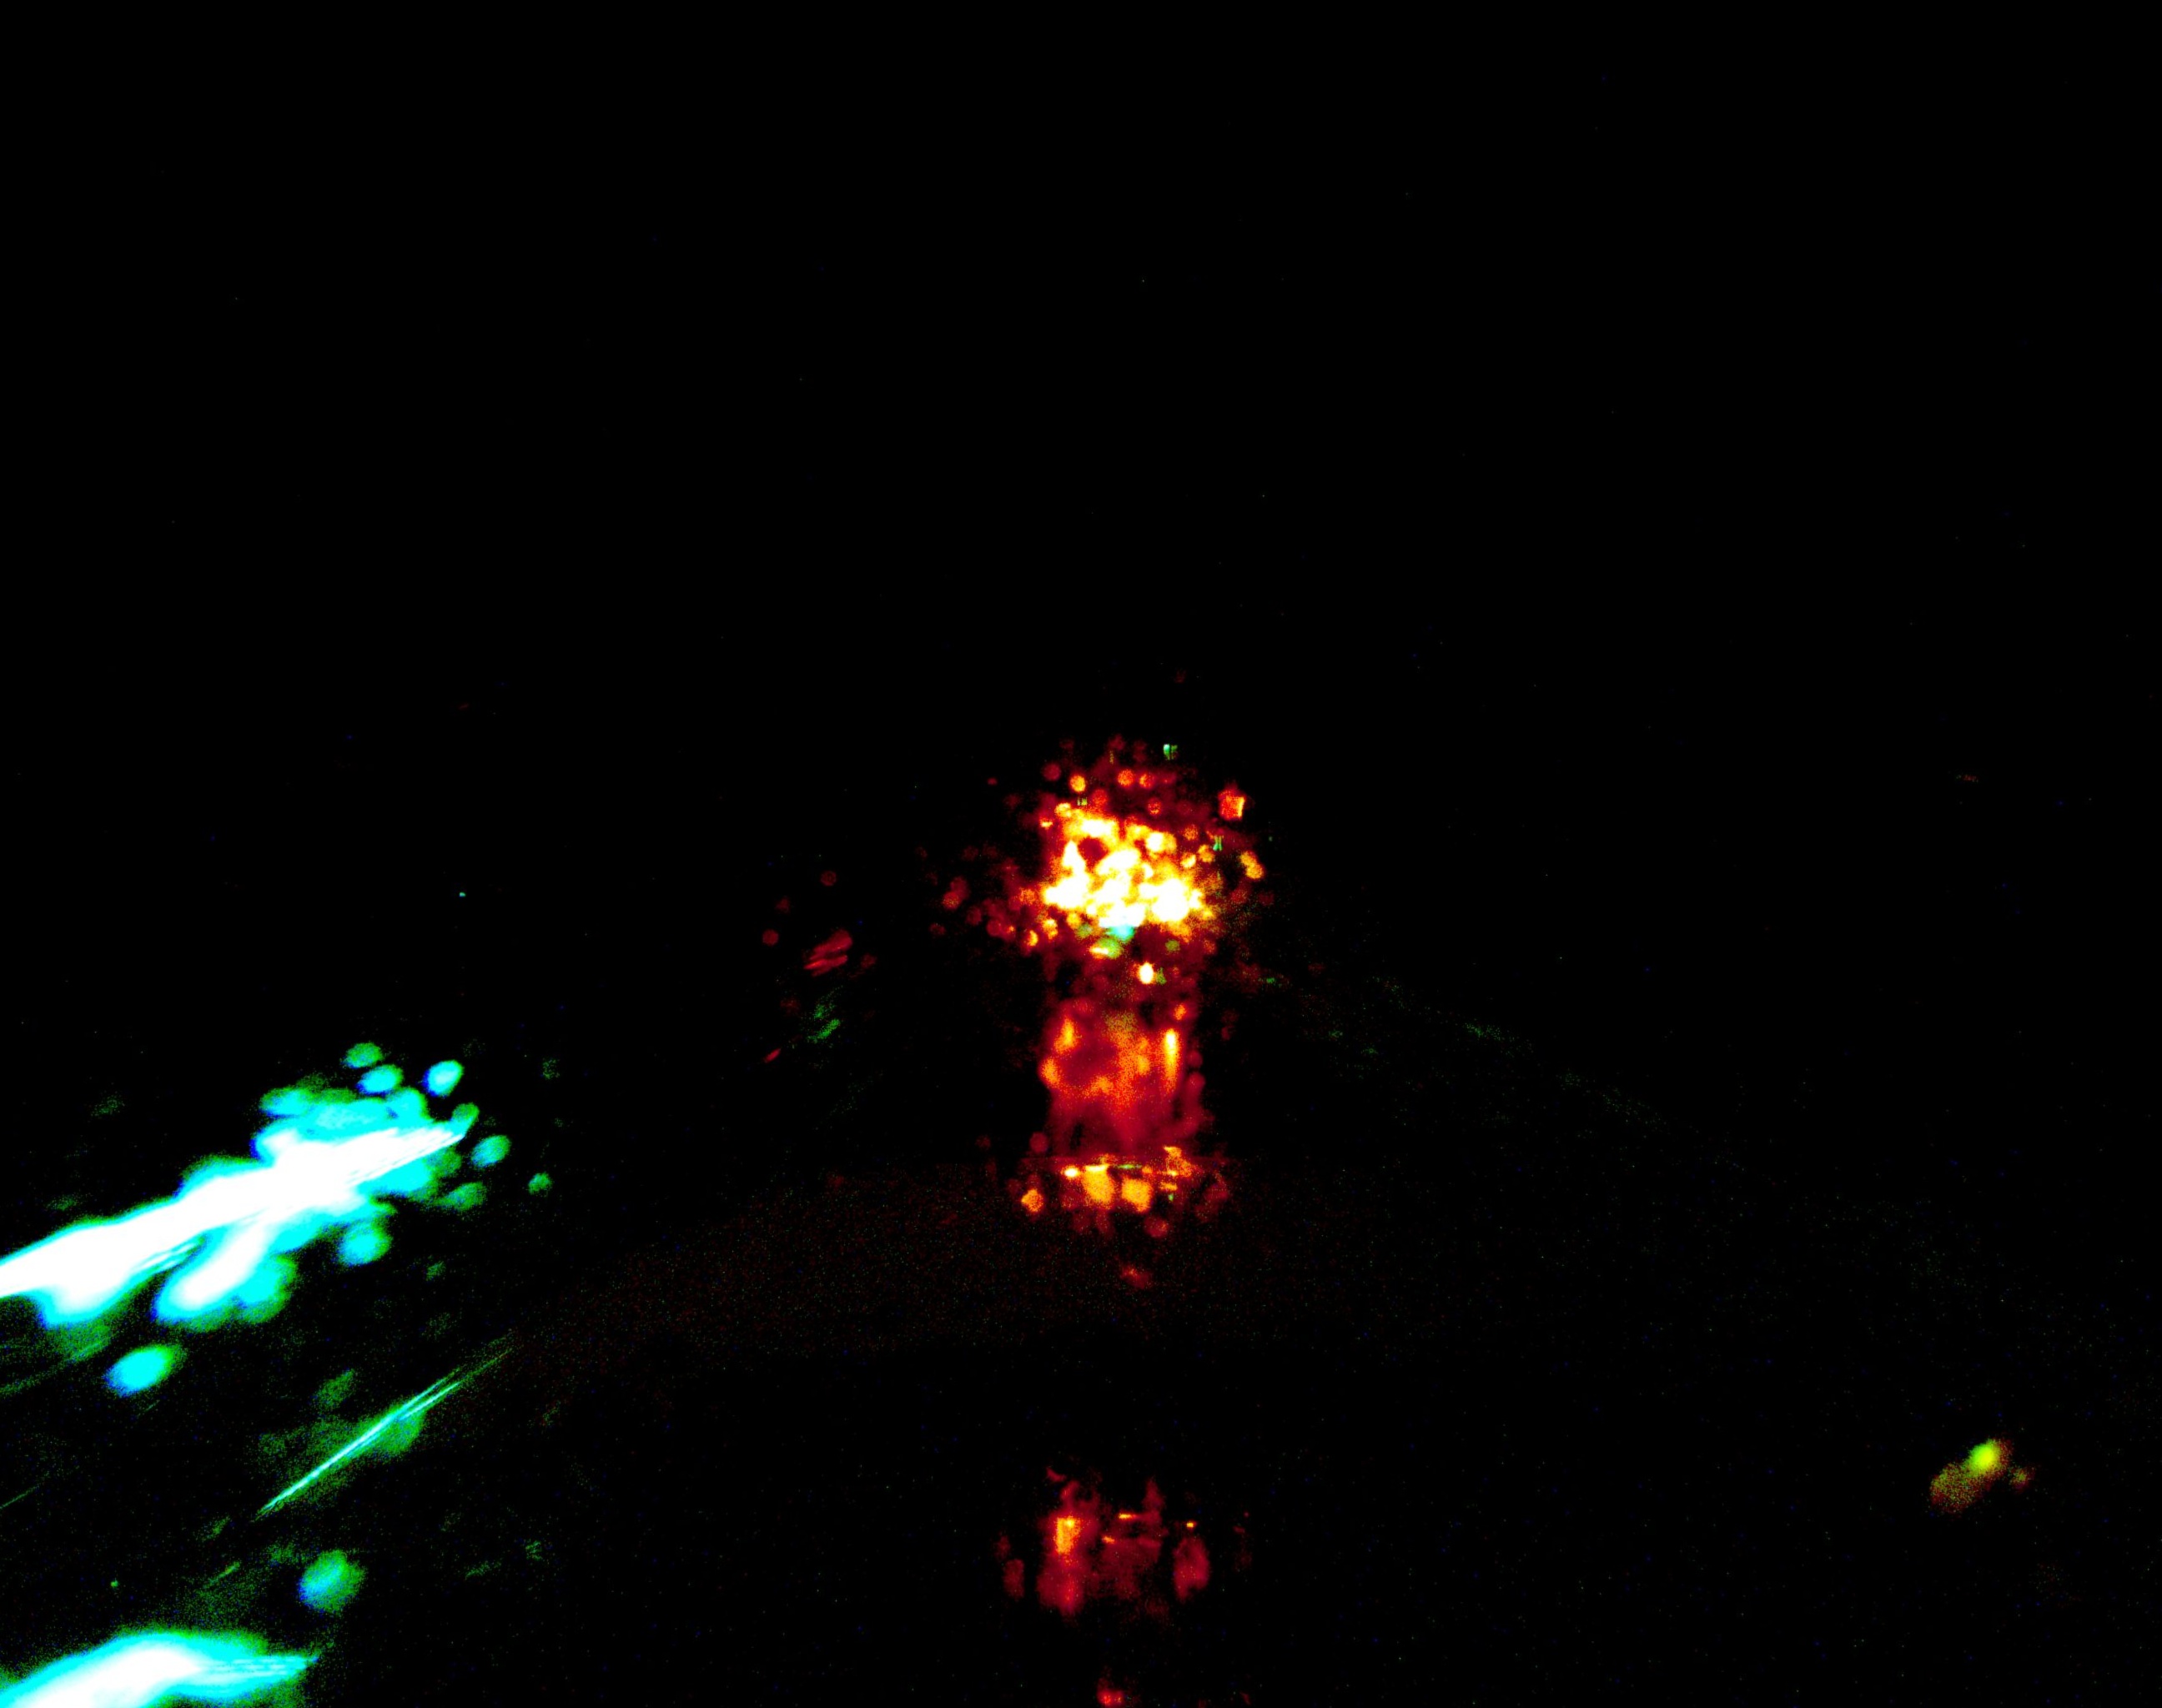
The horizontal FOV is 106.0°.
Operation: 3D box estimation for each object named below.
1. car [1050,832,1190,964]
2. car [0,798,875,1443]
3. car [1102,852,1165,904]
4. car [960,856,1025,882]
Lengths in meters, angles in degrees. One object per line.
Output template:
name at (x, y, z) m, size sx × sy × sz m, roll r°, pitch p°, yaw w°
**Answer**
car at (0.642, 0.566, 12.670) m, size 1.783 × 1.681 × 3.908 m, roll -2°, pitch 0°, yaw 4°
car at (-2.734, 0.753, 4.244) m, size 1.866 × 1.545 × 4.359 m, roll -5°, pitch -1°, yaw 3°
car at (1.718, 0.684, 25.363) m, size 1.735 × 1.415 × 4.007 m, roll -2°, pitch 0°, yaw 6°
car at (-6.338, 1.037, 58.423) m, size 4.174 × 1.799 × 2.005 m, roll 0°, pitch -1°, yaw 10°
